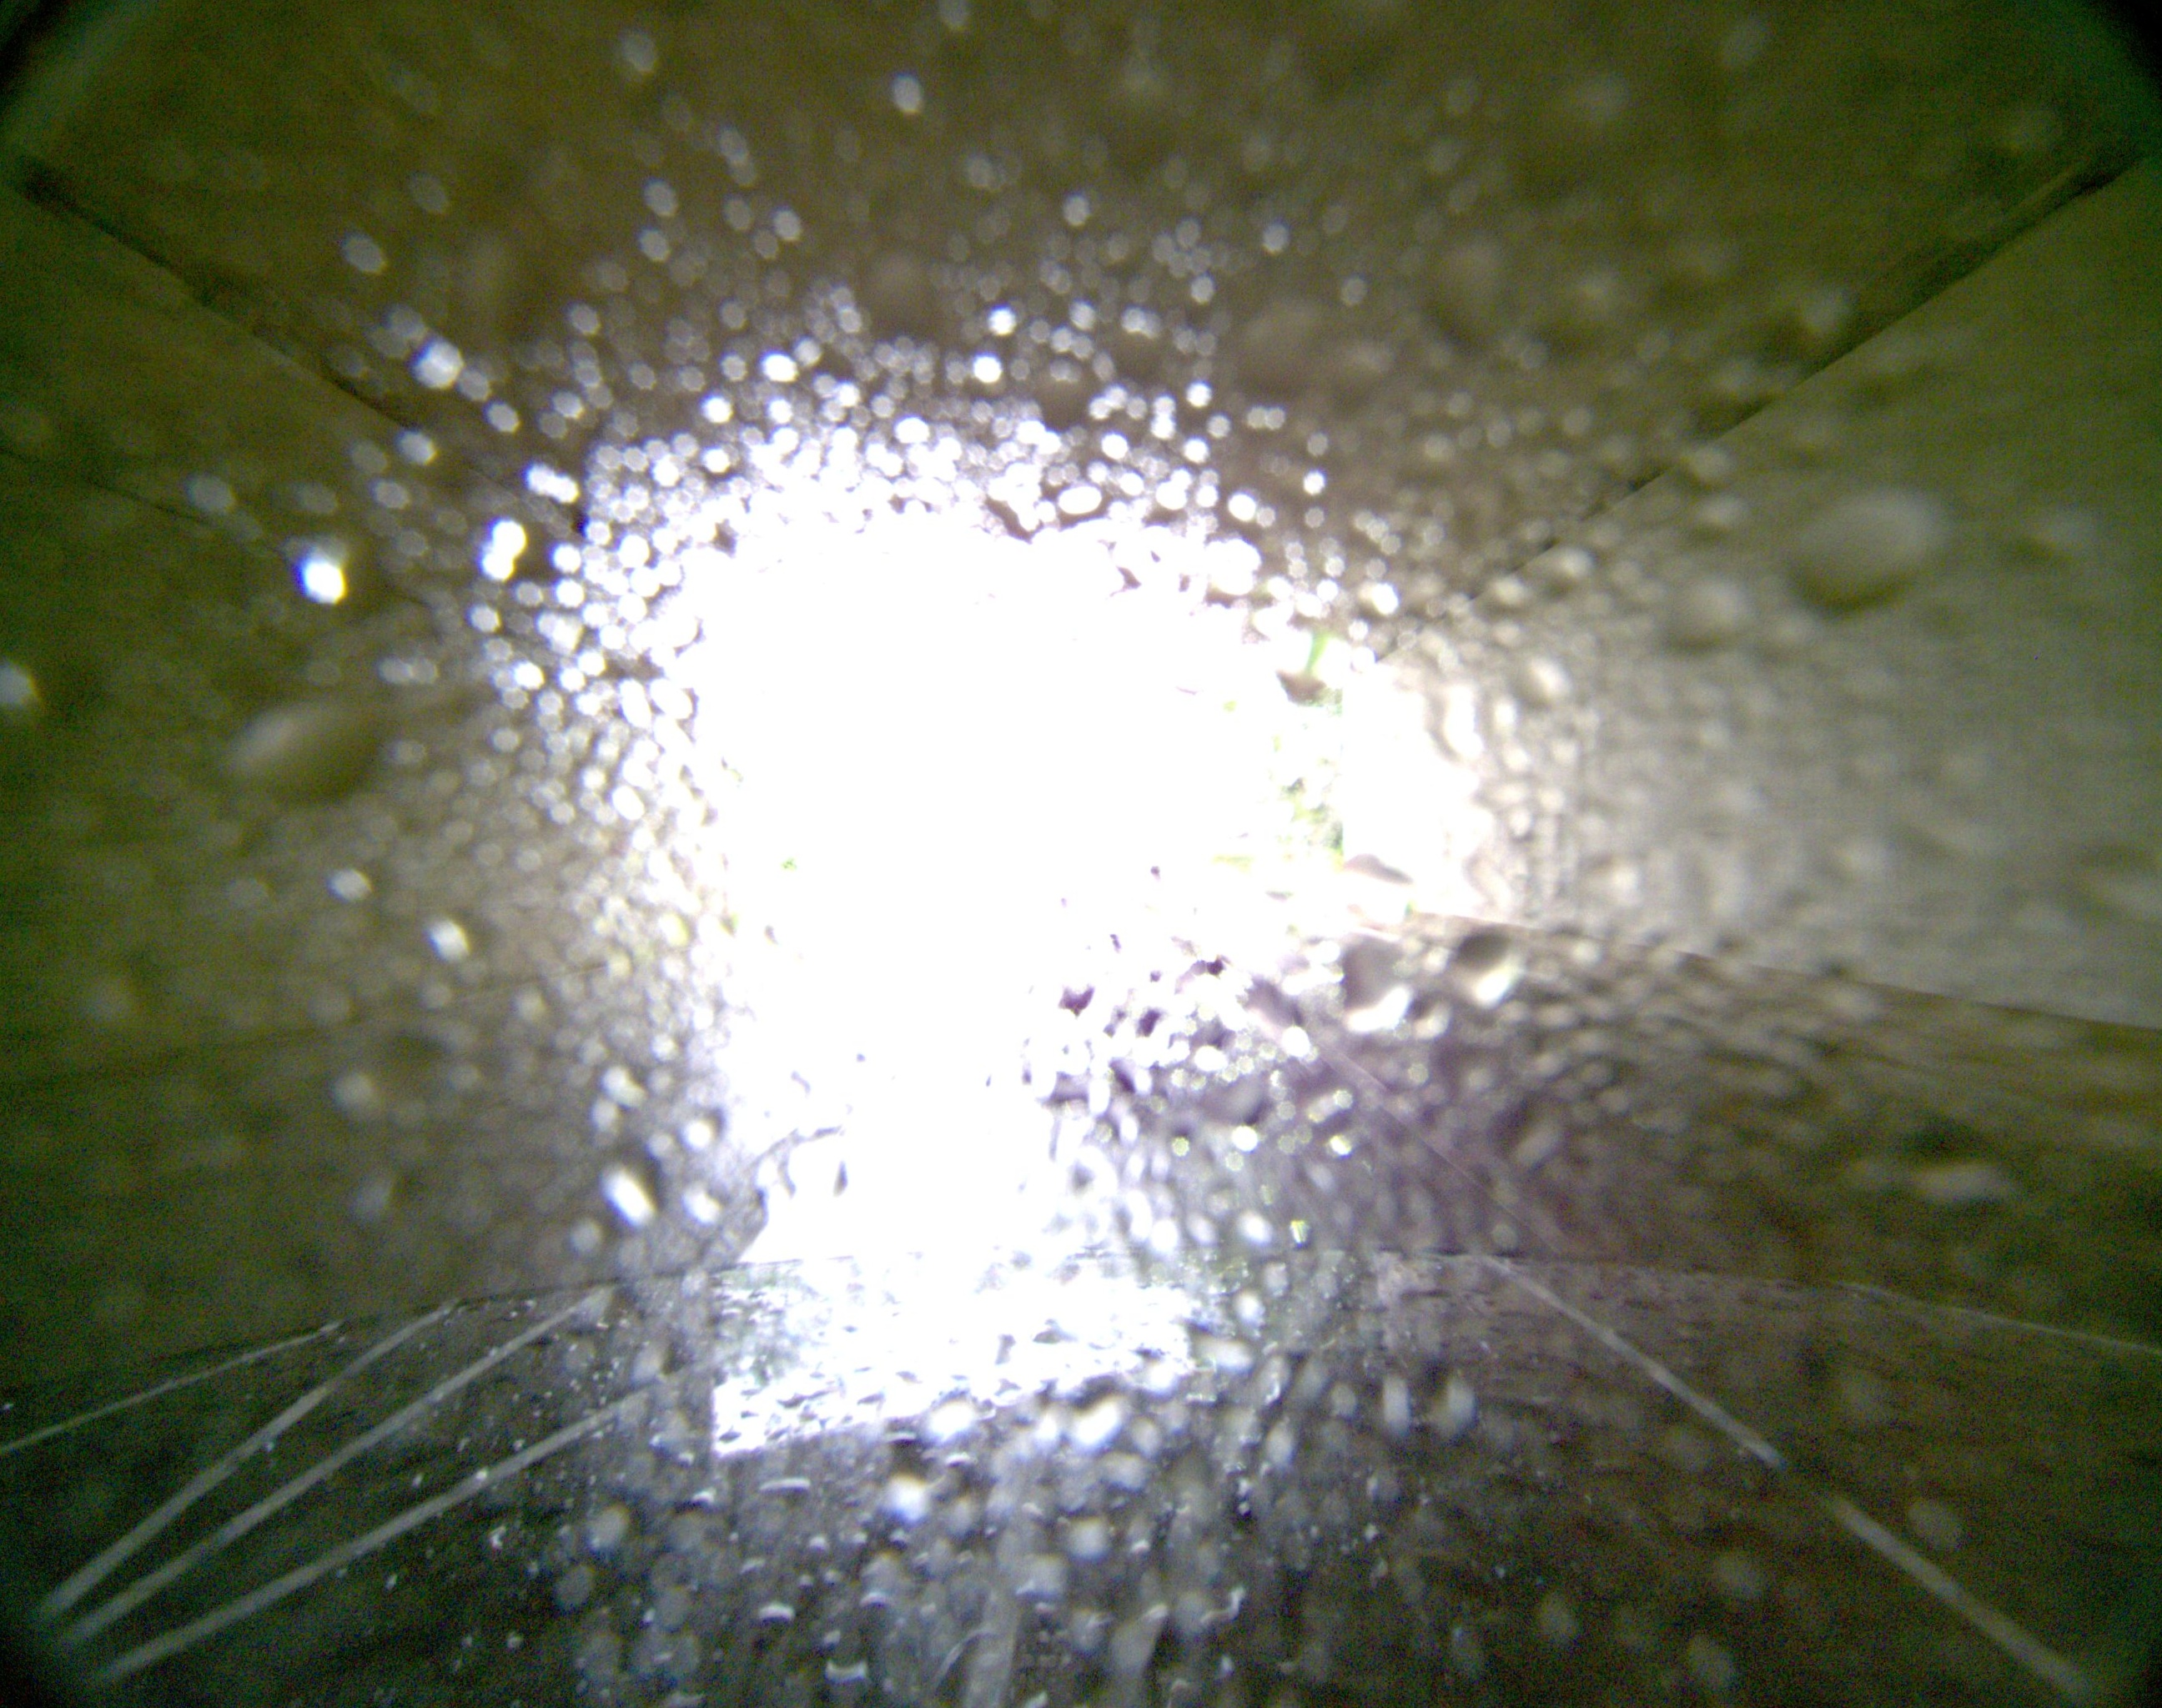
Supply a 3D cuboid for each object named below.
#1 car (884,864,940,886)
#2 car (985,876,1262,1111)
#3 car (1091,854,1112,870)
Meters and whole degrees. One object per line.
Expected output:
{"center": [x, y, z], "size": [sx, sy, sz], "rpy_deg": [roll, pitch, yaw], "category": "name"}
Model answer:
{"center": [-13.339, 1.655, 60.081], "size": [3.863, 1.523, 1.715], "rpy_deg": [-3, 0, -34], "category": "car"}
{"center": [0.242, 0.982, 7.272], "size": [1.767, 1.316, 4.548], "rpy_deg": [-3, 0, -1], "category": "car"}
{"center": [1.958, 0.762, 74.824], "size": [1.695, 1.478, 4.071], "rpy_deg": [-2, 0, -3], "category": "car"}
